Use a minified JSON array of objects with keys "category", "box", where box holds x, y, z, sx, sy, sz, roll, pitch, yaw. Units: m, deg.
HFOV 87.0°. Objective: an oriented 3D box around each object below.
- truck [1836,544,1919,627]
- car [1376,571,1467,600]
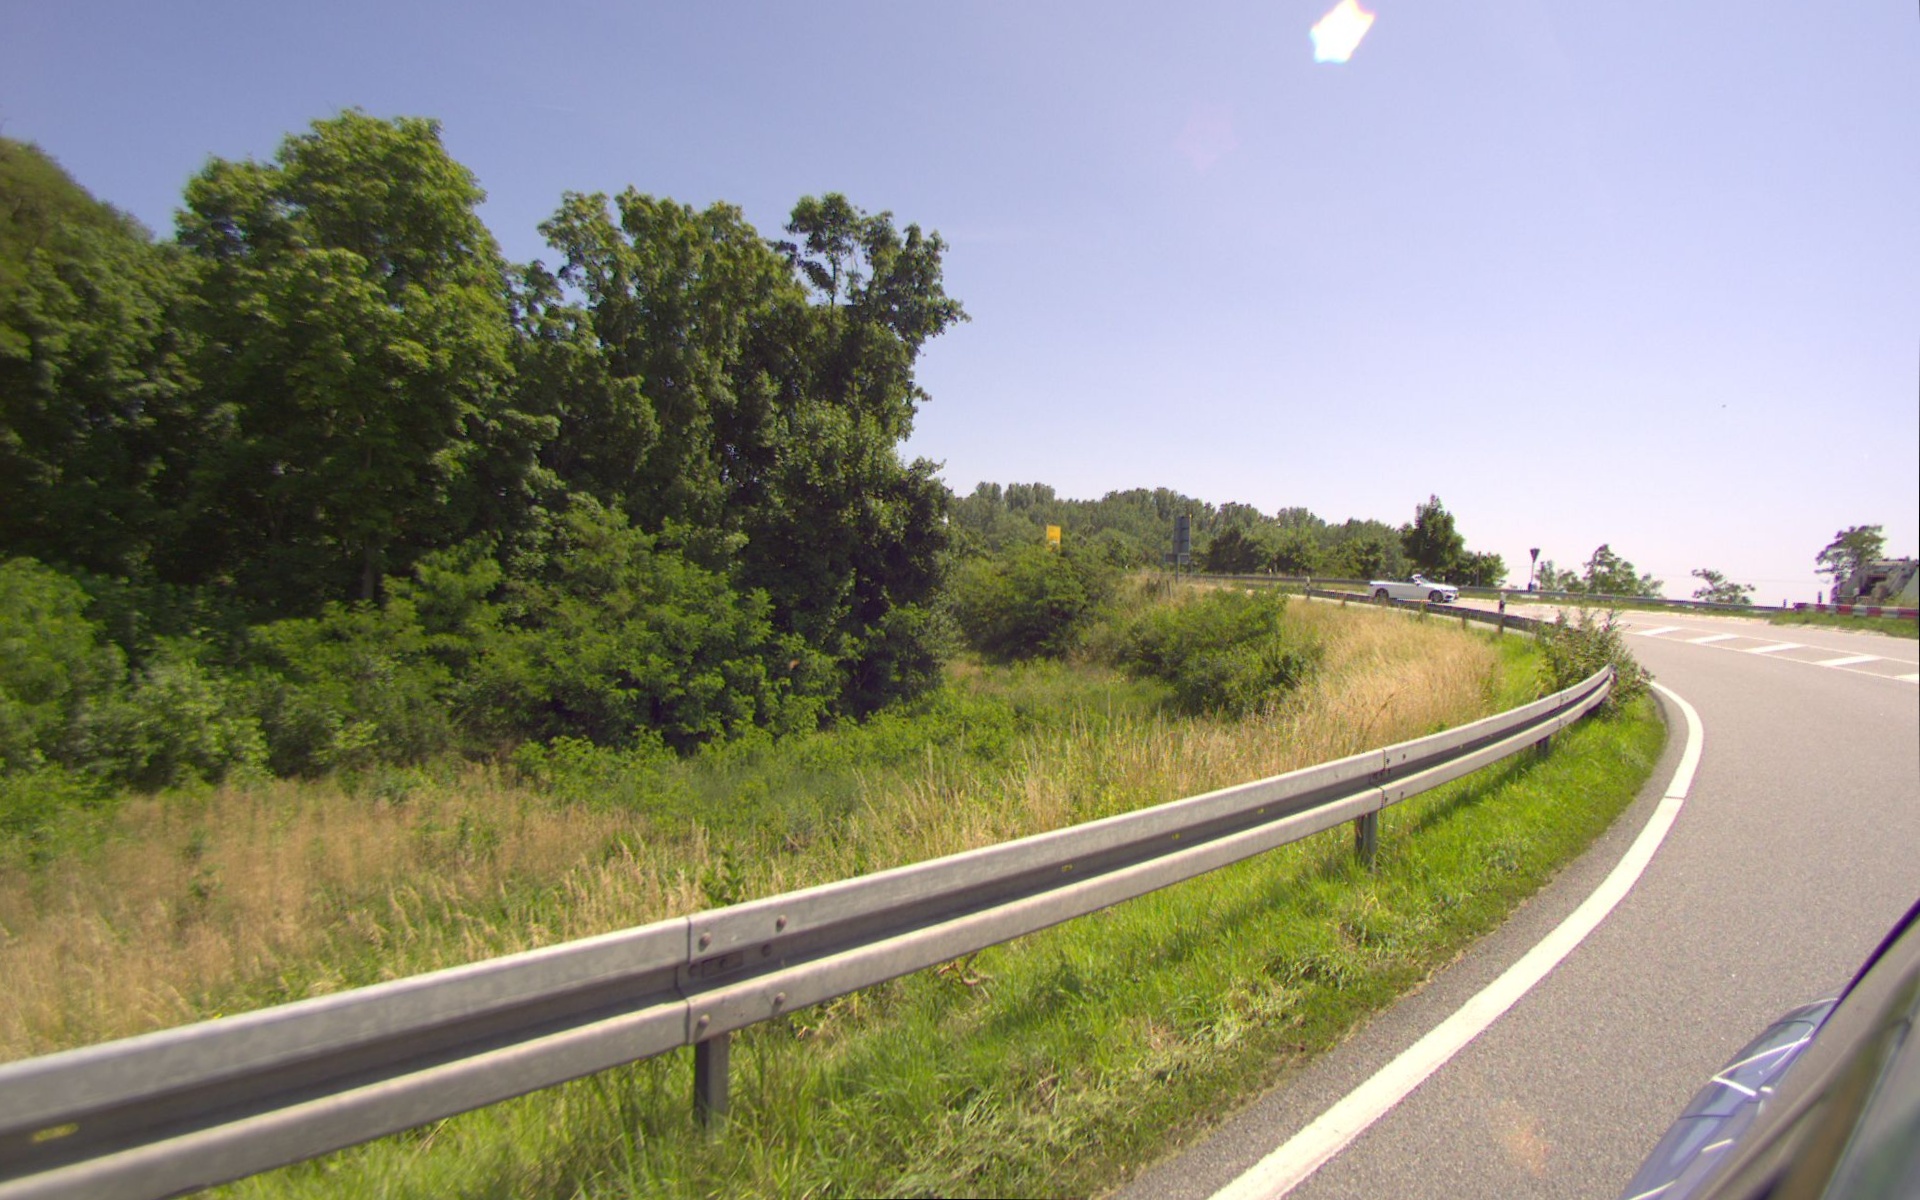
[{"category":"truck","box":[48.558,-0.413,48.786,9.764,3.713,2.822,5,2,1]},{"category":"car","box":[24.638,-0.785,54.109,4.096,1.433,1.786,1,0,43]}]
